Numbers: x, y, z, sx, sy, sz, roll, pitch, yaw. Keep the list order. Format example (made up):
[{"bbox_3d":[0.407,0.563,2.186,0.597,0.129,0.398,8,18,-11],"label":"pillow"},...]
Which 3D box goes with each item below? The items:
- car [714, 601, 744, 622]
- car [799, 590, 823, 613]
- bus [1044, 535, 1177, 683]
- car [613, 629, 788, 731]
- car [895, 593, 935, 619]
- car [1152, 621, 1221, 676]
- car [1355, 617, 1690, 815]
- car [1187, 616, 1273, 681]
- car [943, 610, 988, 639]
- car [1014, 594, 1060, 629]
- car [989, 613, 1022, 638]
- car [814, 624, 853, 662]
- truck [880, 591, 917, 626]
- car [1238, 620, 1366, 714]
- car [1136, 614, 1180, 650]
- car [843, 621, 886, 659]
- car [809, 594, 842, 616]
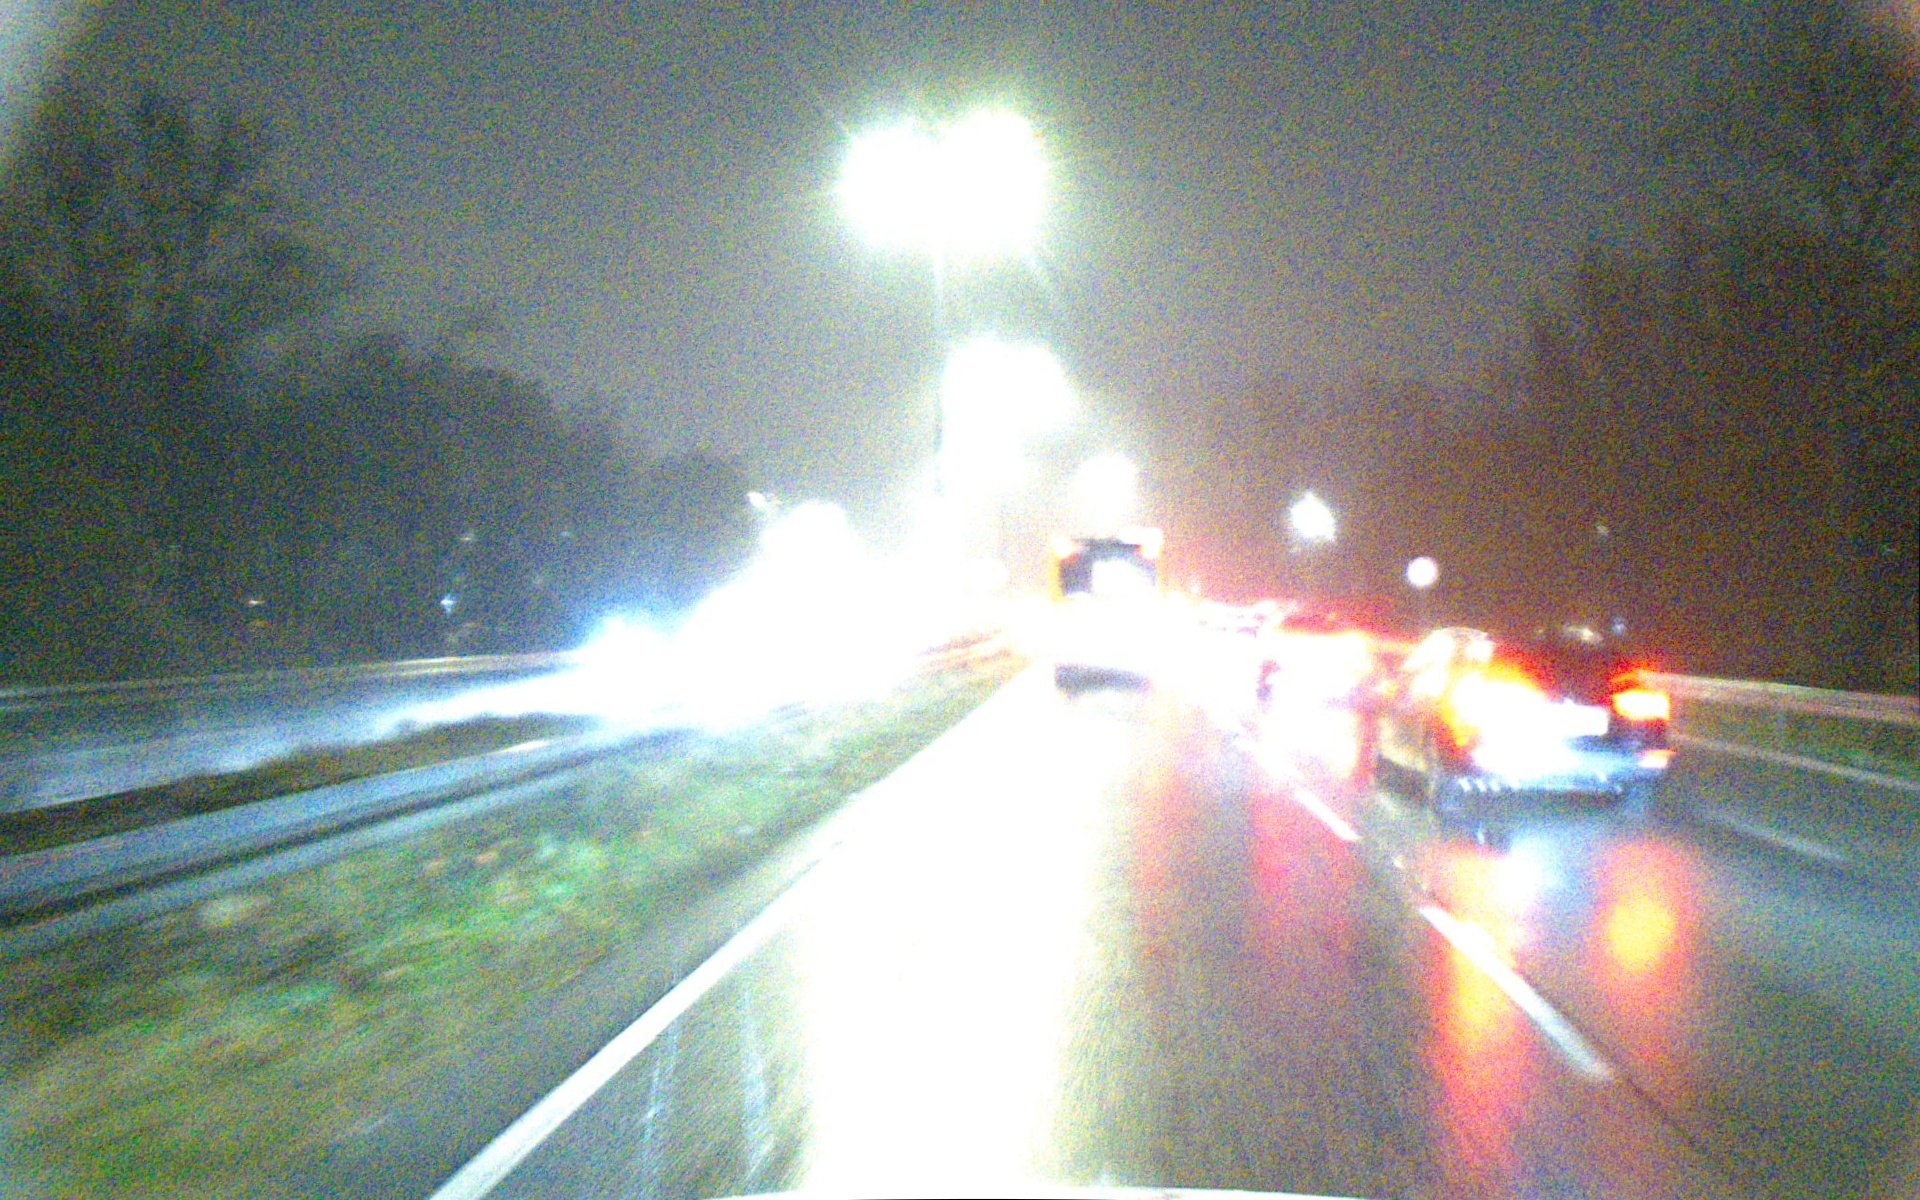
[{"bbox_3d":[-23.097,1.116,165.215,1.968,2.049,3.969,2,-1,-25],"label":"car"},{"bbox_3d":[-14.406,0.150,159.663,2.081,2.049,3.993,2,-1,-8],"label":"car"},{"bbox_3d":[3.426,0.225,39.137,2.756,3.077,8.690,1,0,3],"label":"bus"},{"bbox_3d":[-4.222,1.263,27.665,1.816,1.502,4.781,0,0,5],"label":"car"},{"bbox_3d":[-3.636,0.502,133.714,1.965,2.049,3.974,2,-1,-21],"label":"car"},{"bbox_3d":[7.074,1.497,51.911,1.782,1.618,3.777,0,0,2],"label":"car"},{"bbox_3d":[4.894,0.916,15.097,1.695,1.474,4.727,1,0,4],"label":"car"},{"bbox_3d":[7.092,1.243,43.802,1.782,1.618,3.777,0,0,2],"label":"car"},{"bbox_3d":[0.388,1.748,120.082,2.177,2.049,3.980,0,-1,-18],"label":"car"},{"bbox_3d":[4.700,0.732,100.895,1.957,2.049,3.990,2,-1,-10],"label":"car"},{"bbox_3d":[3.008,1.703,110.854,1.717,1.659,3.618,2,-1,-6],"label":"car"},{"bbox_3d":[-7.143,2.417,93.715,1.953,2.049,3.999,1,-1,-1],"label":"car"},{"bbox_3d":[-4.731,0.648,126.546,1.825,2.434,4.762,-1,3,-14],"label":"truck"},{"bbox_3d":[6.287,1.192,30.792,1.703,1.592,3.777,1,0,2],"label":"car"},{"bbox_3d":[9.042,1.461,75.608,1.742,1.570,3.876,1,0,3],"label":"car"},{"bbox_3d":[-4.293,1.789,74.858,1.587,1.680,4.000,-1,-1,1],"label":"car"},{"bbox_3d":[-12.052,0.452,147.896,1.964,1.715,3.977,3,1,-20],"label":"car"}]
